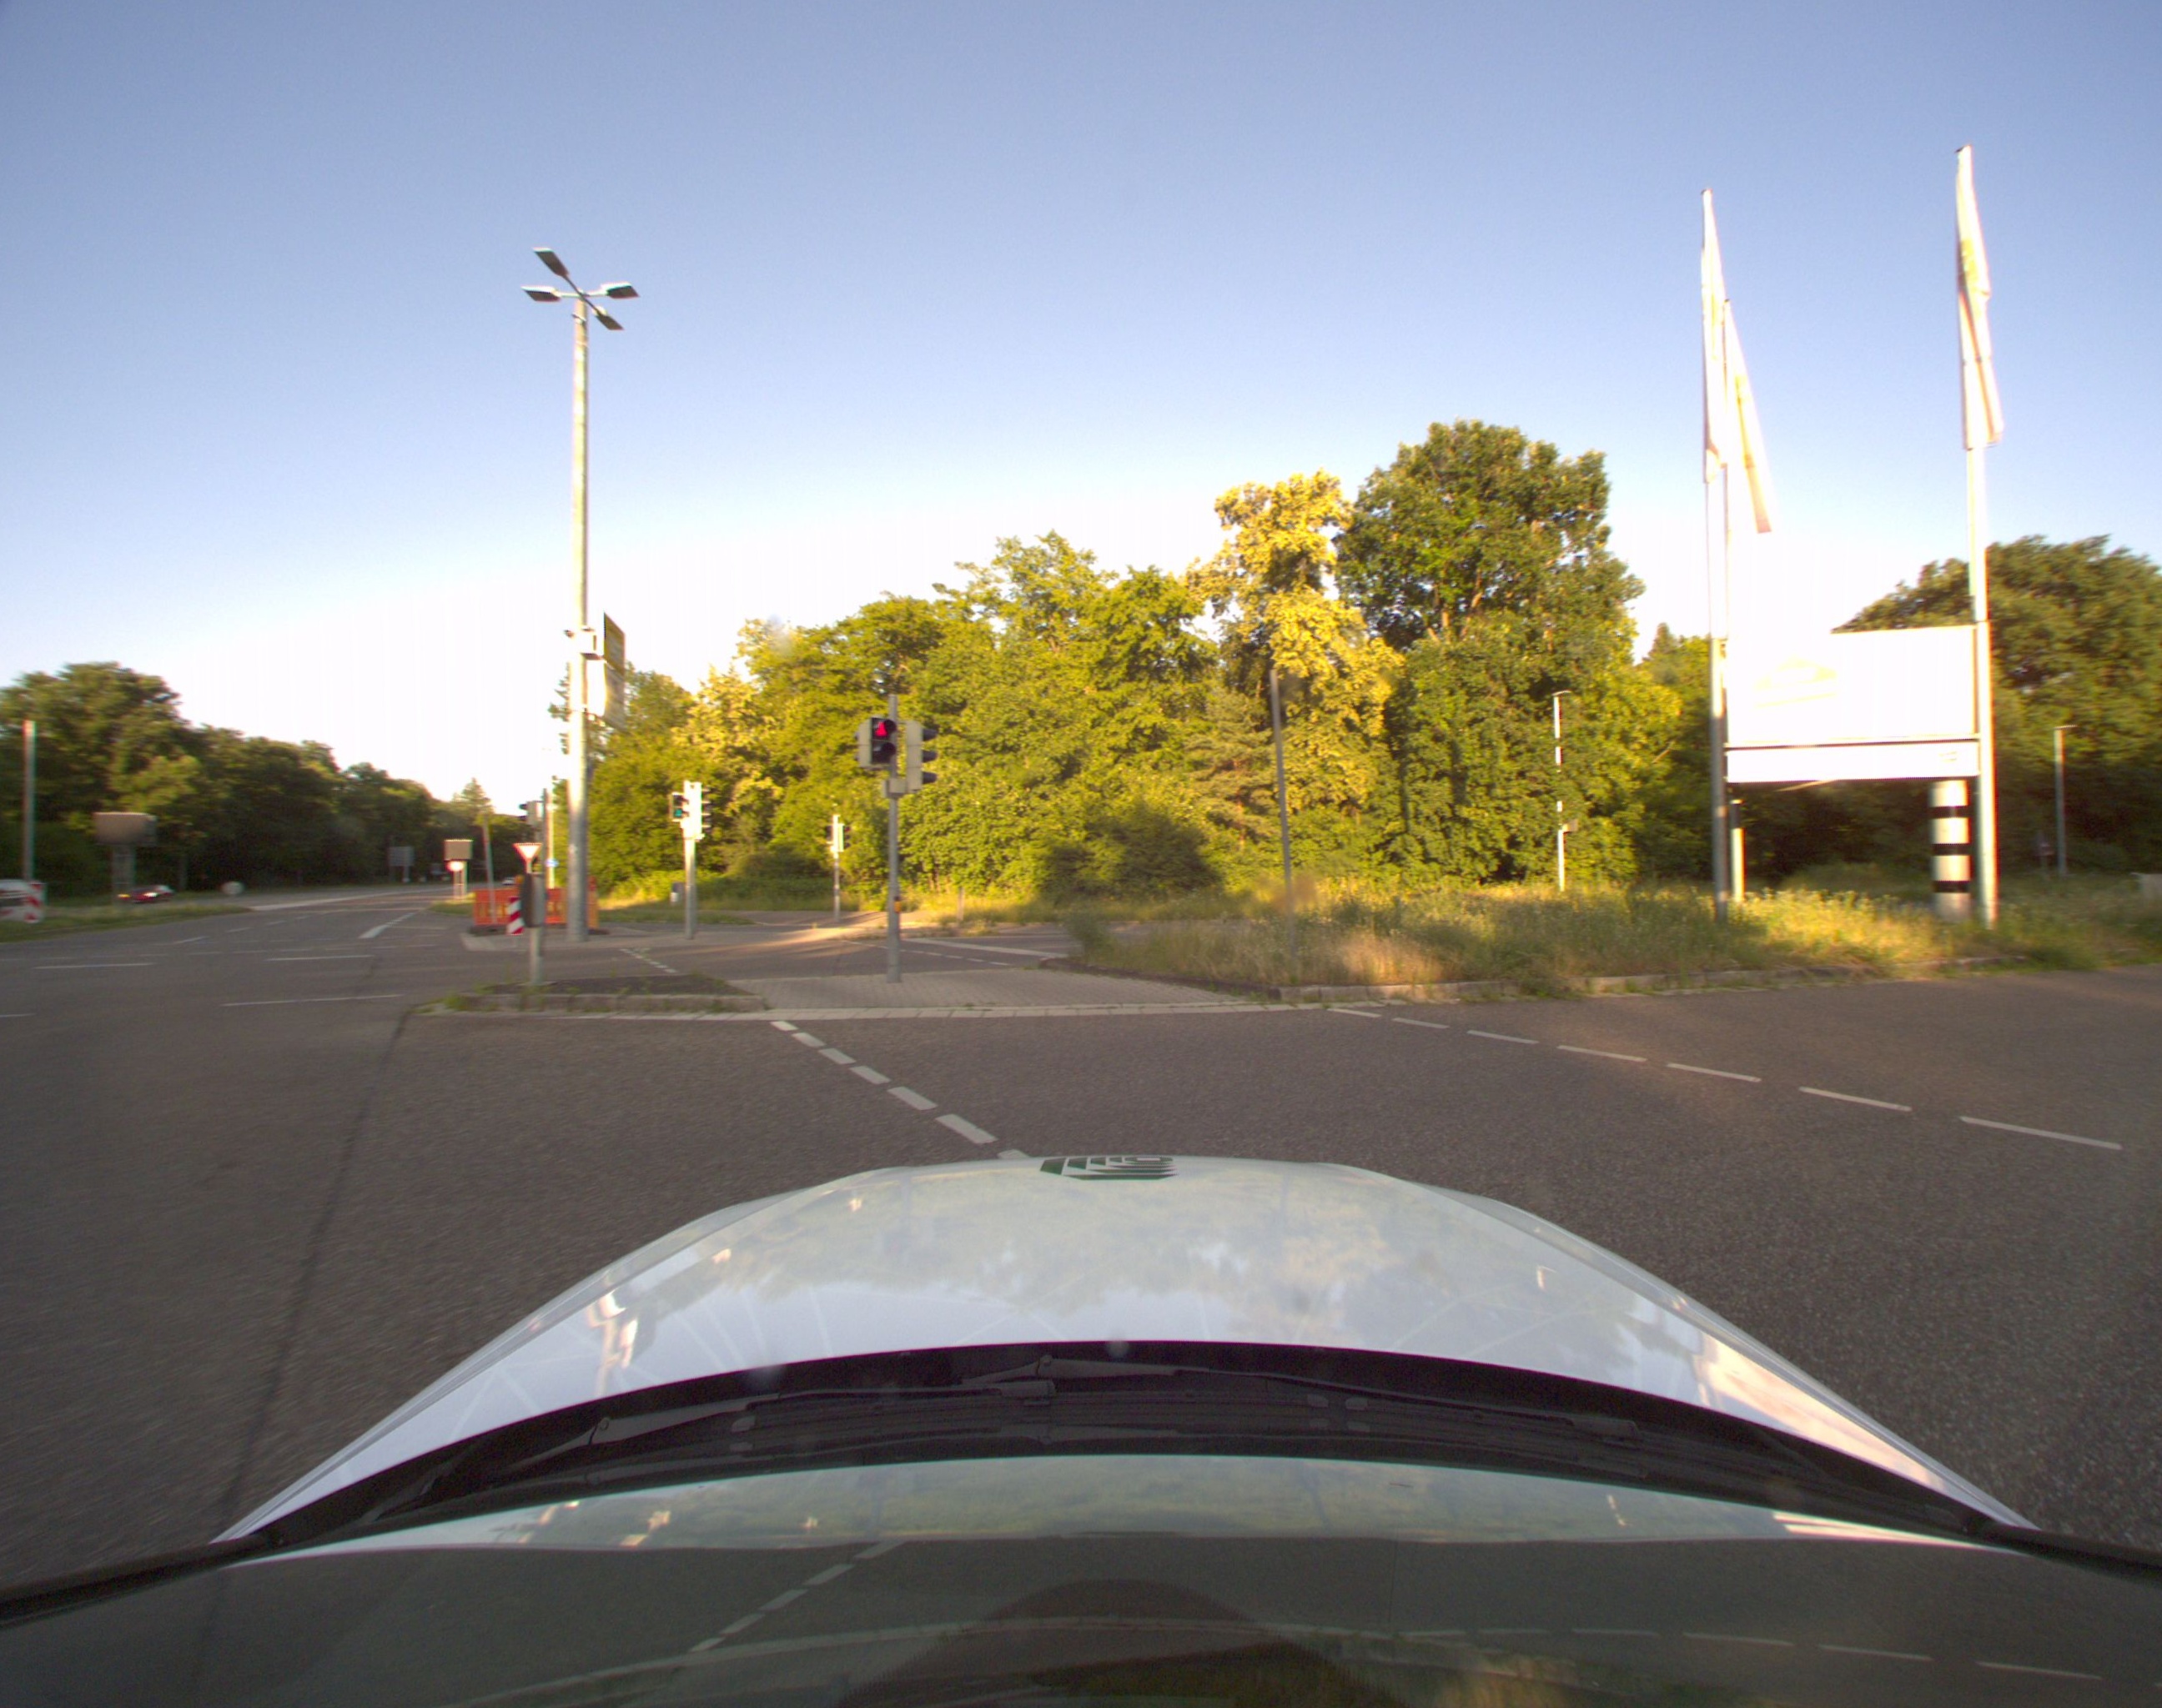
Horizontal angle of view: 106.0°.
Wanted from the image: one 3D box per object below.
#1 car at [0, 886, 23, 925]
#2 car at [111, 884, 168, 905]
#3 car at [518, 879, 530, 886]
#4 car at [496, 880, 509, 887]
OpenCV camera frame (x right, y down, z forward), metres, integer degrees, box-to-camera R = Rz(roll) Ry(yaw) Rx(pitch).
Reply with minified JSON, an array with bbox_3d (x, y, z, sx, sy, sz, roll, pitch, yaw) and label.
[{"bbox_3d":[-58.760,2.779,43.574,1.894,2.024,4.182,0,-1,-42],"label":"car"},{"bbox_3d":[-71.709,3.058,62.118,1.892,1.422,4.187,0,-1,-36],"label":"car"},{"bbox_3d":[-116.199,5.965,169.940,1.463,1.244,2.939,0,-1,-25],"label":"car"},{"bbox_3d":[-106.623,5.430,150.102,1.557,1.347,3.084,0,-1,-30],"label":"car"}]
